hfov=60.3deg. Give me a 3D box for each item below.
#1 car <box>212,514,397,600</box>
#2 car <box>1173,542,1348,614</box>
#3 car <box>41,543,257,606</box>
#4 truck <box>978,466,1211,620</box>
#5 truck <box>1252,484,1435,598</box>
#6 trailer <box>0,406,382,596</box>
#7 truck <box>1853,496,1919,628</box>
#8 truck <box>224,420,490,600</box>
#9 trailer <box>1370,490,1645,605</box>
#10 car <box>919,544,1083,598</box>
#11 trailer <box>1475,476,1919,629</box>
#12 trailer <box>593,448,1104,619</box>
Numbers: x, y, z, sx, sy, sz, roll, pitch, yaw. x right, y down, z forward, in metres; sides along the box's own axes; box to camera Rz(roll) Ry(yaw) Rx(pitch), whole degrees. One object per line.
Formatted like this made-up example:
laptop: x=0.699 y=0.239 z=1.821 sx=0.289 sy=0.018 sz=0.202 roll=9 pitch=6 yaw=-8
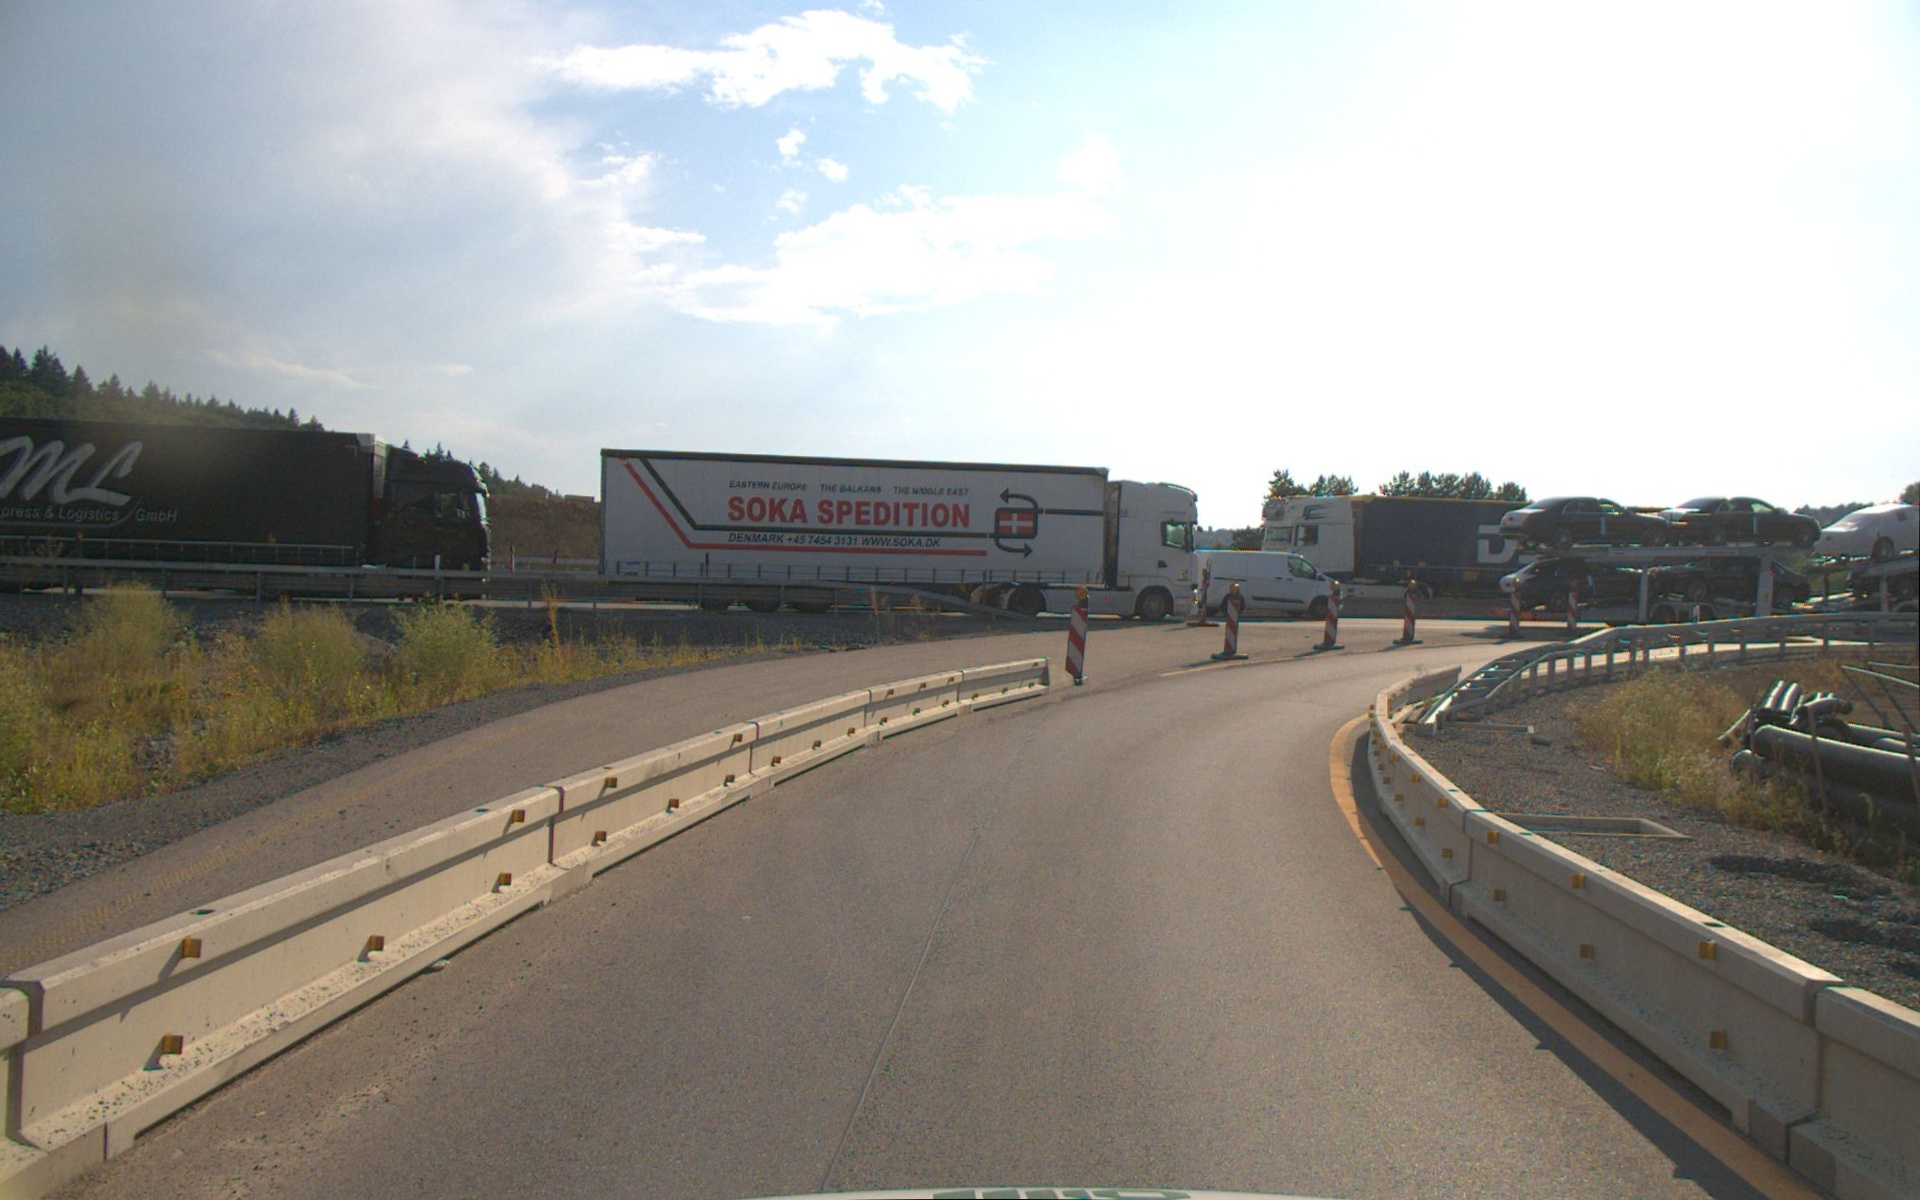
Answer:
car: x=-16.967 y=-1.078 z=43.012 sx=4.244 sy=2.049 sz=1.521 roll=2 pitch=-1 yaw=-15
car: x=9.215 y=-0.695 z=50.845 sx=4.877 sy=2.015 sz=2.029 roll=1 pitch=3 yaw=-13
car: x=-21.975 y=-0.694 z=45.016 sx=4.877 sy=1.526 sz=2.029 roll=1 pitch=3 yaw=-13
truck: x=3.713 y=-1.536 z=45.988 sx=5.890 sy=3.945 sz=2.480 roll=2 pitch=1 yaw=-14
truck: x=13.677 y=-2.049 z=59.171 sx=5.572 sy=3.792 sz=2.996 roll=2 pitch=-1 yaw=-13
trailer: x=-21.031 y=-2.384 z=39.538 sx=13.362 sy=4.132 sz=2.479 roll=2 pitch=1 yaw=-16
truck: x=32.556 y=-1.118 z=53.136 sx=6.490 sy=4.066 sz=2.848 roll=2 pitch=1 yaw=-14
truck: x=-14.889 y=-2.172 z=41.257 sx=5.891 sy=4.130 sz=2.479 roll=2 pitch=1 yaw=-15
trailer: x=20.048 y=-1.847 z=60.666 sx=9.373 sy=3.817 sz=3.007 roll=2 pitch=-1 yaw=-13
car: x=1.287 y=-0.925 z=52.643 sx=4.877 sy=1.526 sz=2.029 roll=1 pitch=3 yaw=-13
trailer: x=23.571 y=-1.345 z=50.916 sx=15.427 sy=4.066 sz=2.856 roll=2 pitch=1 yaw=-14
trailer: x=-2.907 y=-1.684 z=44.262 sx=13.356 sy=3.945 sz=2.480 roll=2 pitch=1 yaw=-14
